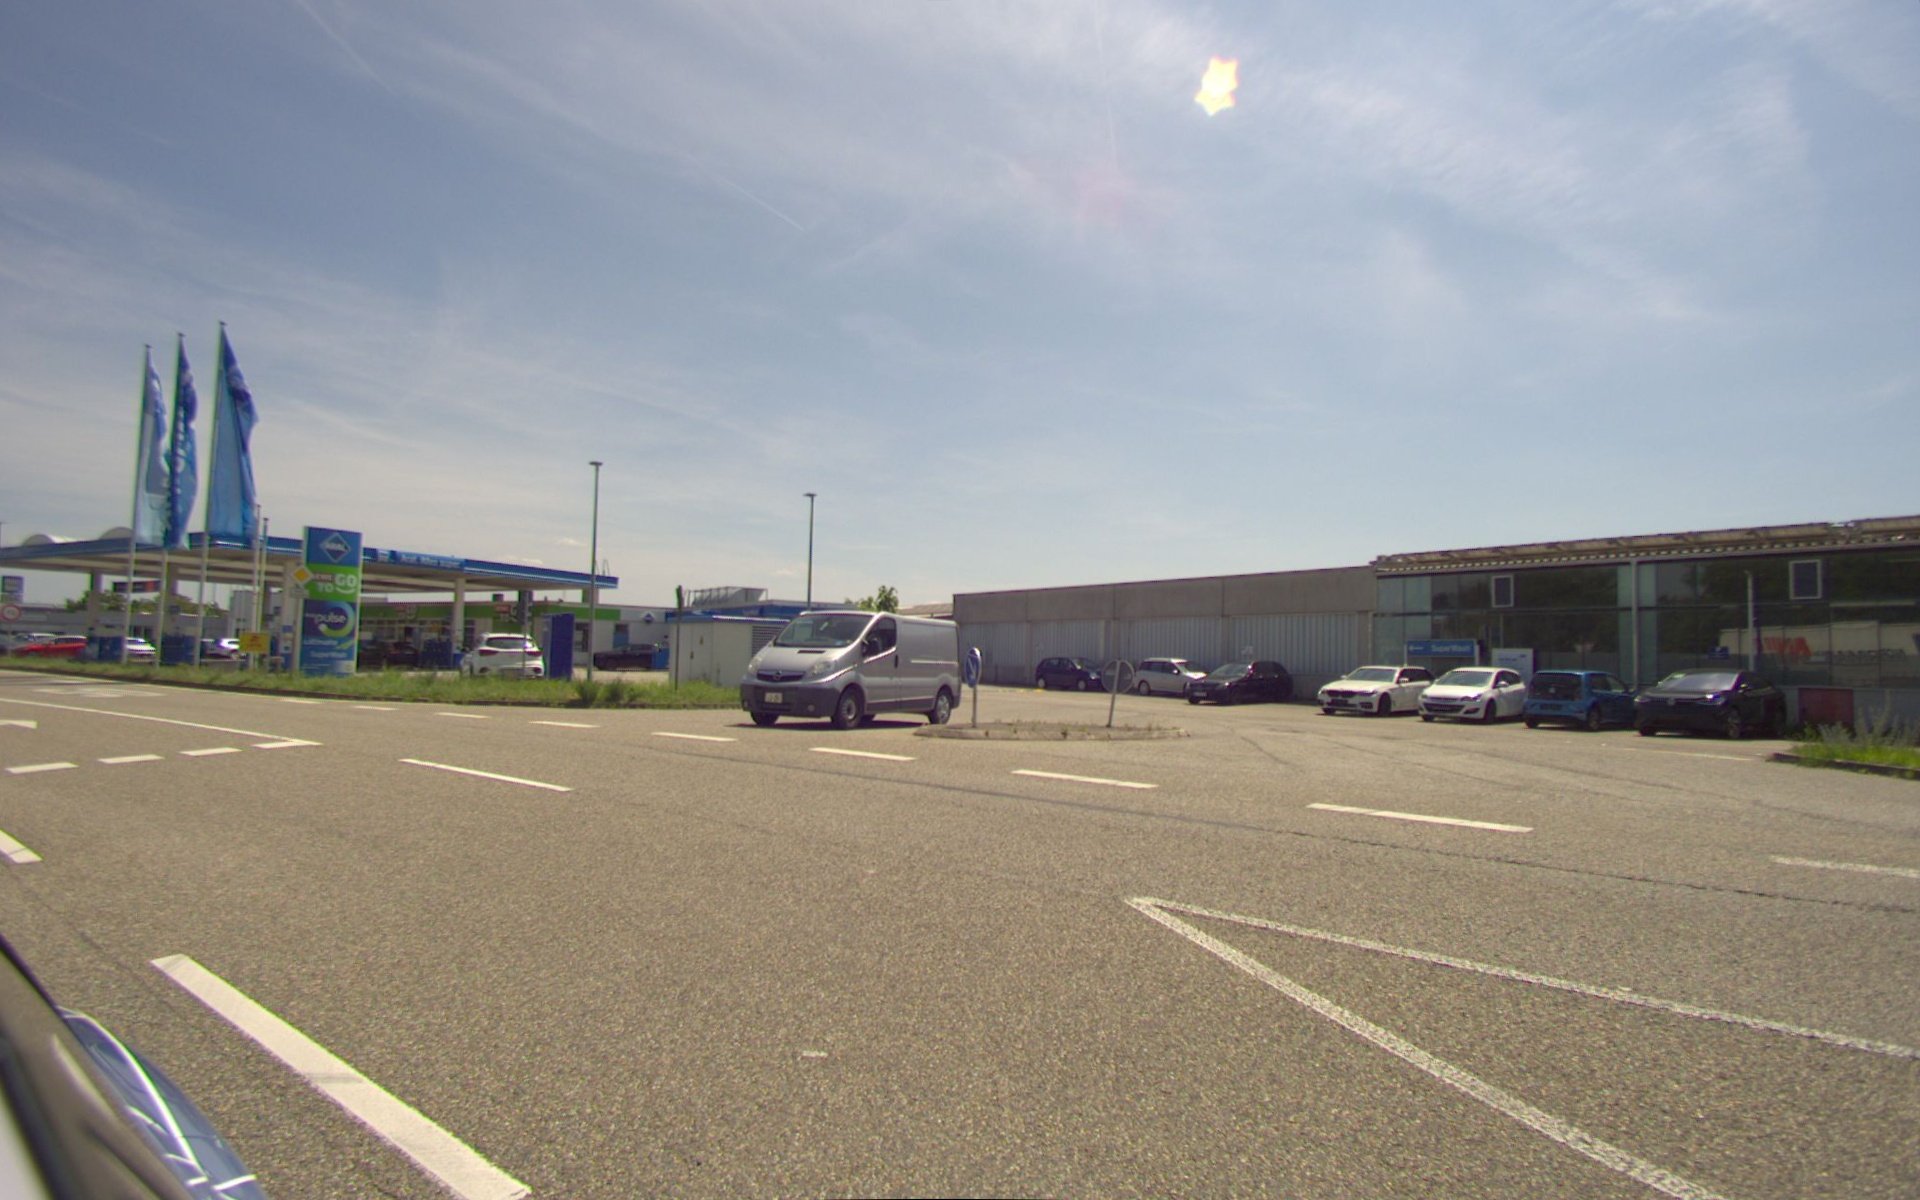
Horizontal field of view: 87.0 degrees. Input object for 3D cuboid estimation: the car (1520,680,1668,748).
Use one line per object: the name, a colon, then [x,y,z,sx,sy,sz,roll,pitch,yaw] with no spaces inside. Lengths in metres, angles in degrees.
car: [16.184,2.871,25.793,3.936,1.542,2.004,5,-5,-38]

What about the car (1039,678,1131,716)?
car: [5.273,4.107,43.167,1.731,1.453,3.909,3,-4,-35]

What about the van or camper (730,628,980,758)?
van or camper: [-1.610,1.565,17.532,1.896,1.919,4.816,-1,-5,28]

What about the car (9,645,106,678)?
car: [-54.873,3.759,61.598,1.994,1.918,3.954,-1,-5,33]

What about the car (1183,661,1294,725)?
car: [9.519,3.119,34.455,3.935,2.029,1.601,3,-4,-37]

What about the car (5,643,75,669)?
car: [-58.314,3.540,64.159,3.973,1.547,1.699,-1,-3,22]

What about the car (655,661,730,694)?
car: [-14.223,4.107,54.033,1.933,1.619,3.972,0,-3,21]

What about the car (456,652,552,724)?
car: [-12.902,2.404,28.480,1.837,1.725,4.532,3,-3,-32]

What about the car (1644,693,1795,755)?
car: [17.474,2.824,23.237,3.935,1.256,1.773,5,-6,-37]

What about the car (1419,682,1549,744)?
car: [14.344,3.054,27.629,3.808,1.508,1.847,5,-6,-40]

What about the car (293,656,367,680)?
car: [-39.656,4.295,63.721,4.363,1.389,1.981,-1,-5,28]

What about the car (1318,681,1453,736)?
car: [12.529,3.152,29.742,3.935,1.453,2.004,4,-5,-38]

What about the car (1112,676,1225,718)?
car: [7.942,3.675,38.831,1.887,1.439,4.113,3,-4,-34]
